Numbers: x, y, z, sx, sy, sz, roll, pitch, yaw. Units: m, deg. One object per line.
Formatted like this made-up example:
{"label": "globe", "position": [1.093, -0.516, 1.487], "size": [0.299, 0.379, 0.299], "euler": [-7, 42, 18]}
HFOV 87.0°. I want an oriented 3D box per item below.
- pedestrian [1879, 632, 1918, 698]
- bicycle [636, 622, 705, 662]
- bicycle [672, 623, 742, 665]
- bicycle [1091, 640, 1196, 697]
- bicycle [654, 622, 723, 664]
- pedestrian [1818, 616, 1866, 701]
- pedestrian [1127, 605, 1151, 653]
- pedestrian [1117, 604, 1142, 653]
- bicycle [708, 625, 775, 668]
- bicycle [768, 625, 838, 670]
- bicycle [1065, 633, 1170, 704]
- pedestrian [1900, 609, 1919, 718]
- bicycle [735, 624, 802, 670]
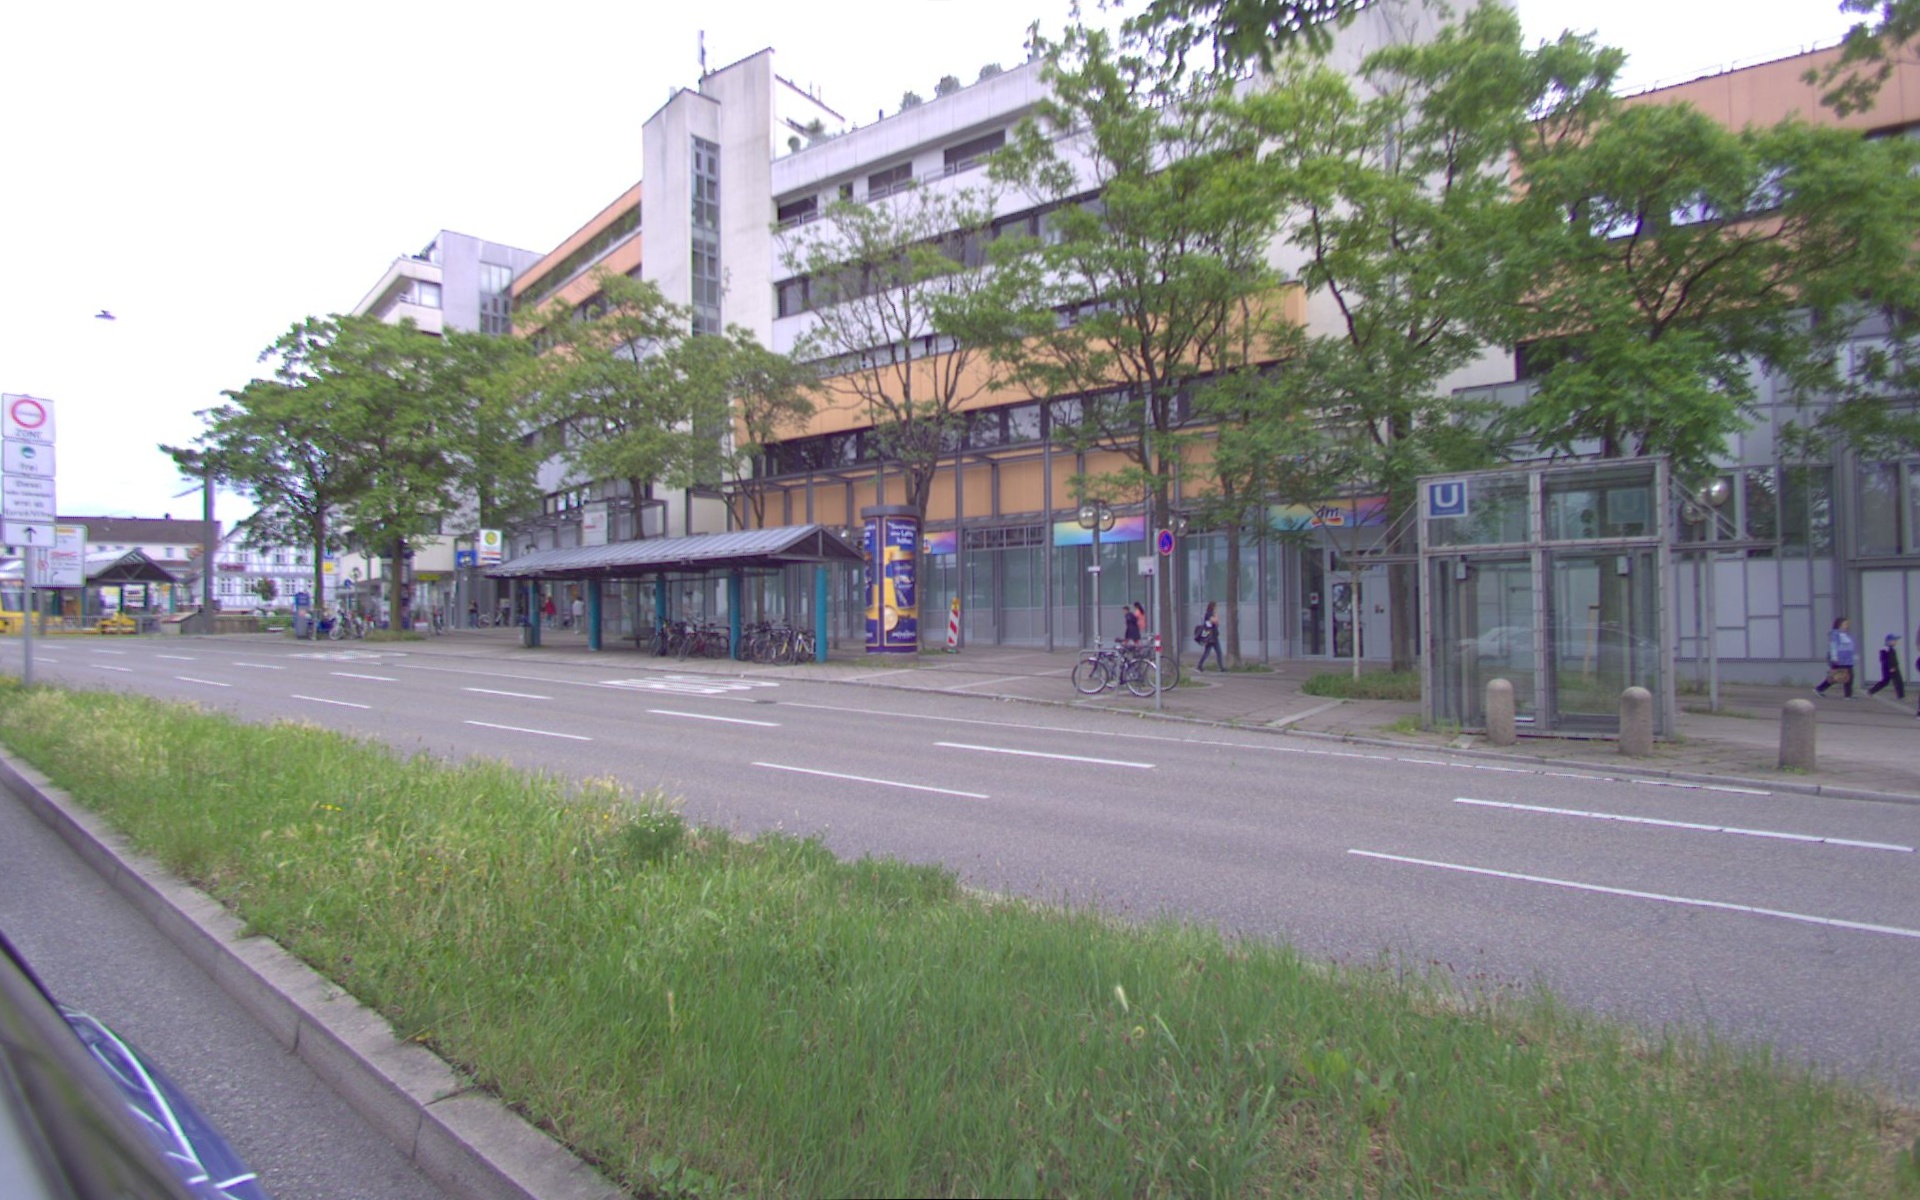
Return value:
{"label": "pedestrian", "position": [17.582, 1.201, 18.968], "size": [0.514, 1.201, 0.378], "euler": [0, -1, 41]}
{"label": "bicycle", "position": [-8.701, 1.235, 30.483], "size": [0.541, 1.098, 2.044], "euler": [0, 0, 39]}
{"label": "bicycle", "position": [-7.261, 1.244, 29.121], "size": [0.541, 1.098, 2.044], "euler": [0, 0, 39]}
{"label": "bicycle", "position": [3.595, 1.323, 19.935], "size": [2.049, 1.034, 0.514], "euler": [-1, 0, 41]}
{"label": "bicycle", "position": [-7.996, 1.245, 29.899], "size": [0.541, 1.147, 2.044], "euler": [0, 0, 39]}
{"label": "pedestrian", "position": [16.698, 1.087, 19.175], "size": [0.638, 1.558, 0.679], "euler": [0, -1, 39]}
{"label": "pedestrian", "position": [5.410, 0.875, 30.609], "size": [0.580, 1.443, 0.456], "euler": [0, -2, 41]}
{"label": "pedestrian", "position": [5.079, 0.855, 30.246], "size": [0.580, 1.443, 0.456], "euler": [0, -2, 41]}
{"label": "bicycle", "position": [-6.063, 1.277, 28.201], "size": [0.541, 1.098, 2.047], "euler": [0, 0, 34]}
{"label": "bicycle", "position": [-4.228, 1.265, 27.432], "size": [0.541, 1.098, 2.182], "euler": [0, 0, 34]}
{"label": "bicycle", "position": [2.925, 1.246, 18.929], "size": [1.948, 1.234, 0.514], "euler": [-1, 0, 41]}
{"label": "pedestrian", "position": [15.268, 0.991, 15.795], "size": [0.826, 1.692, 0.769], "euler": [0, -1, 41]}
{"label": "bicycle", "position": [-5.253, 1.266, 27.887], "size": [0.541, 1.147, 2.047], "euler": [0, 0, 34]}
